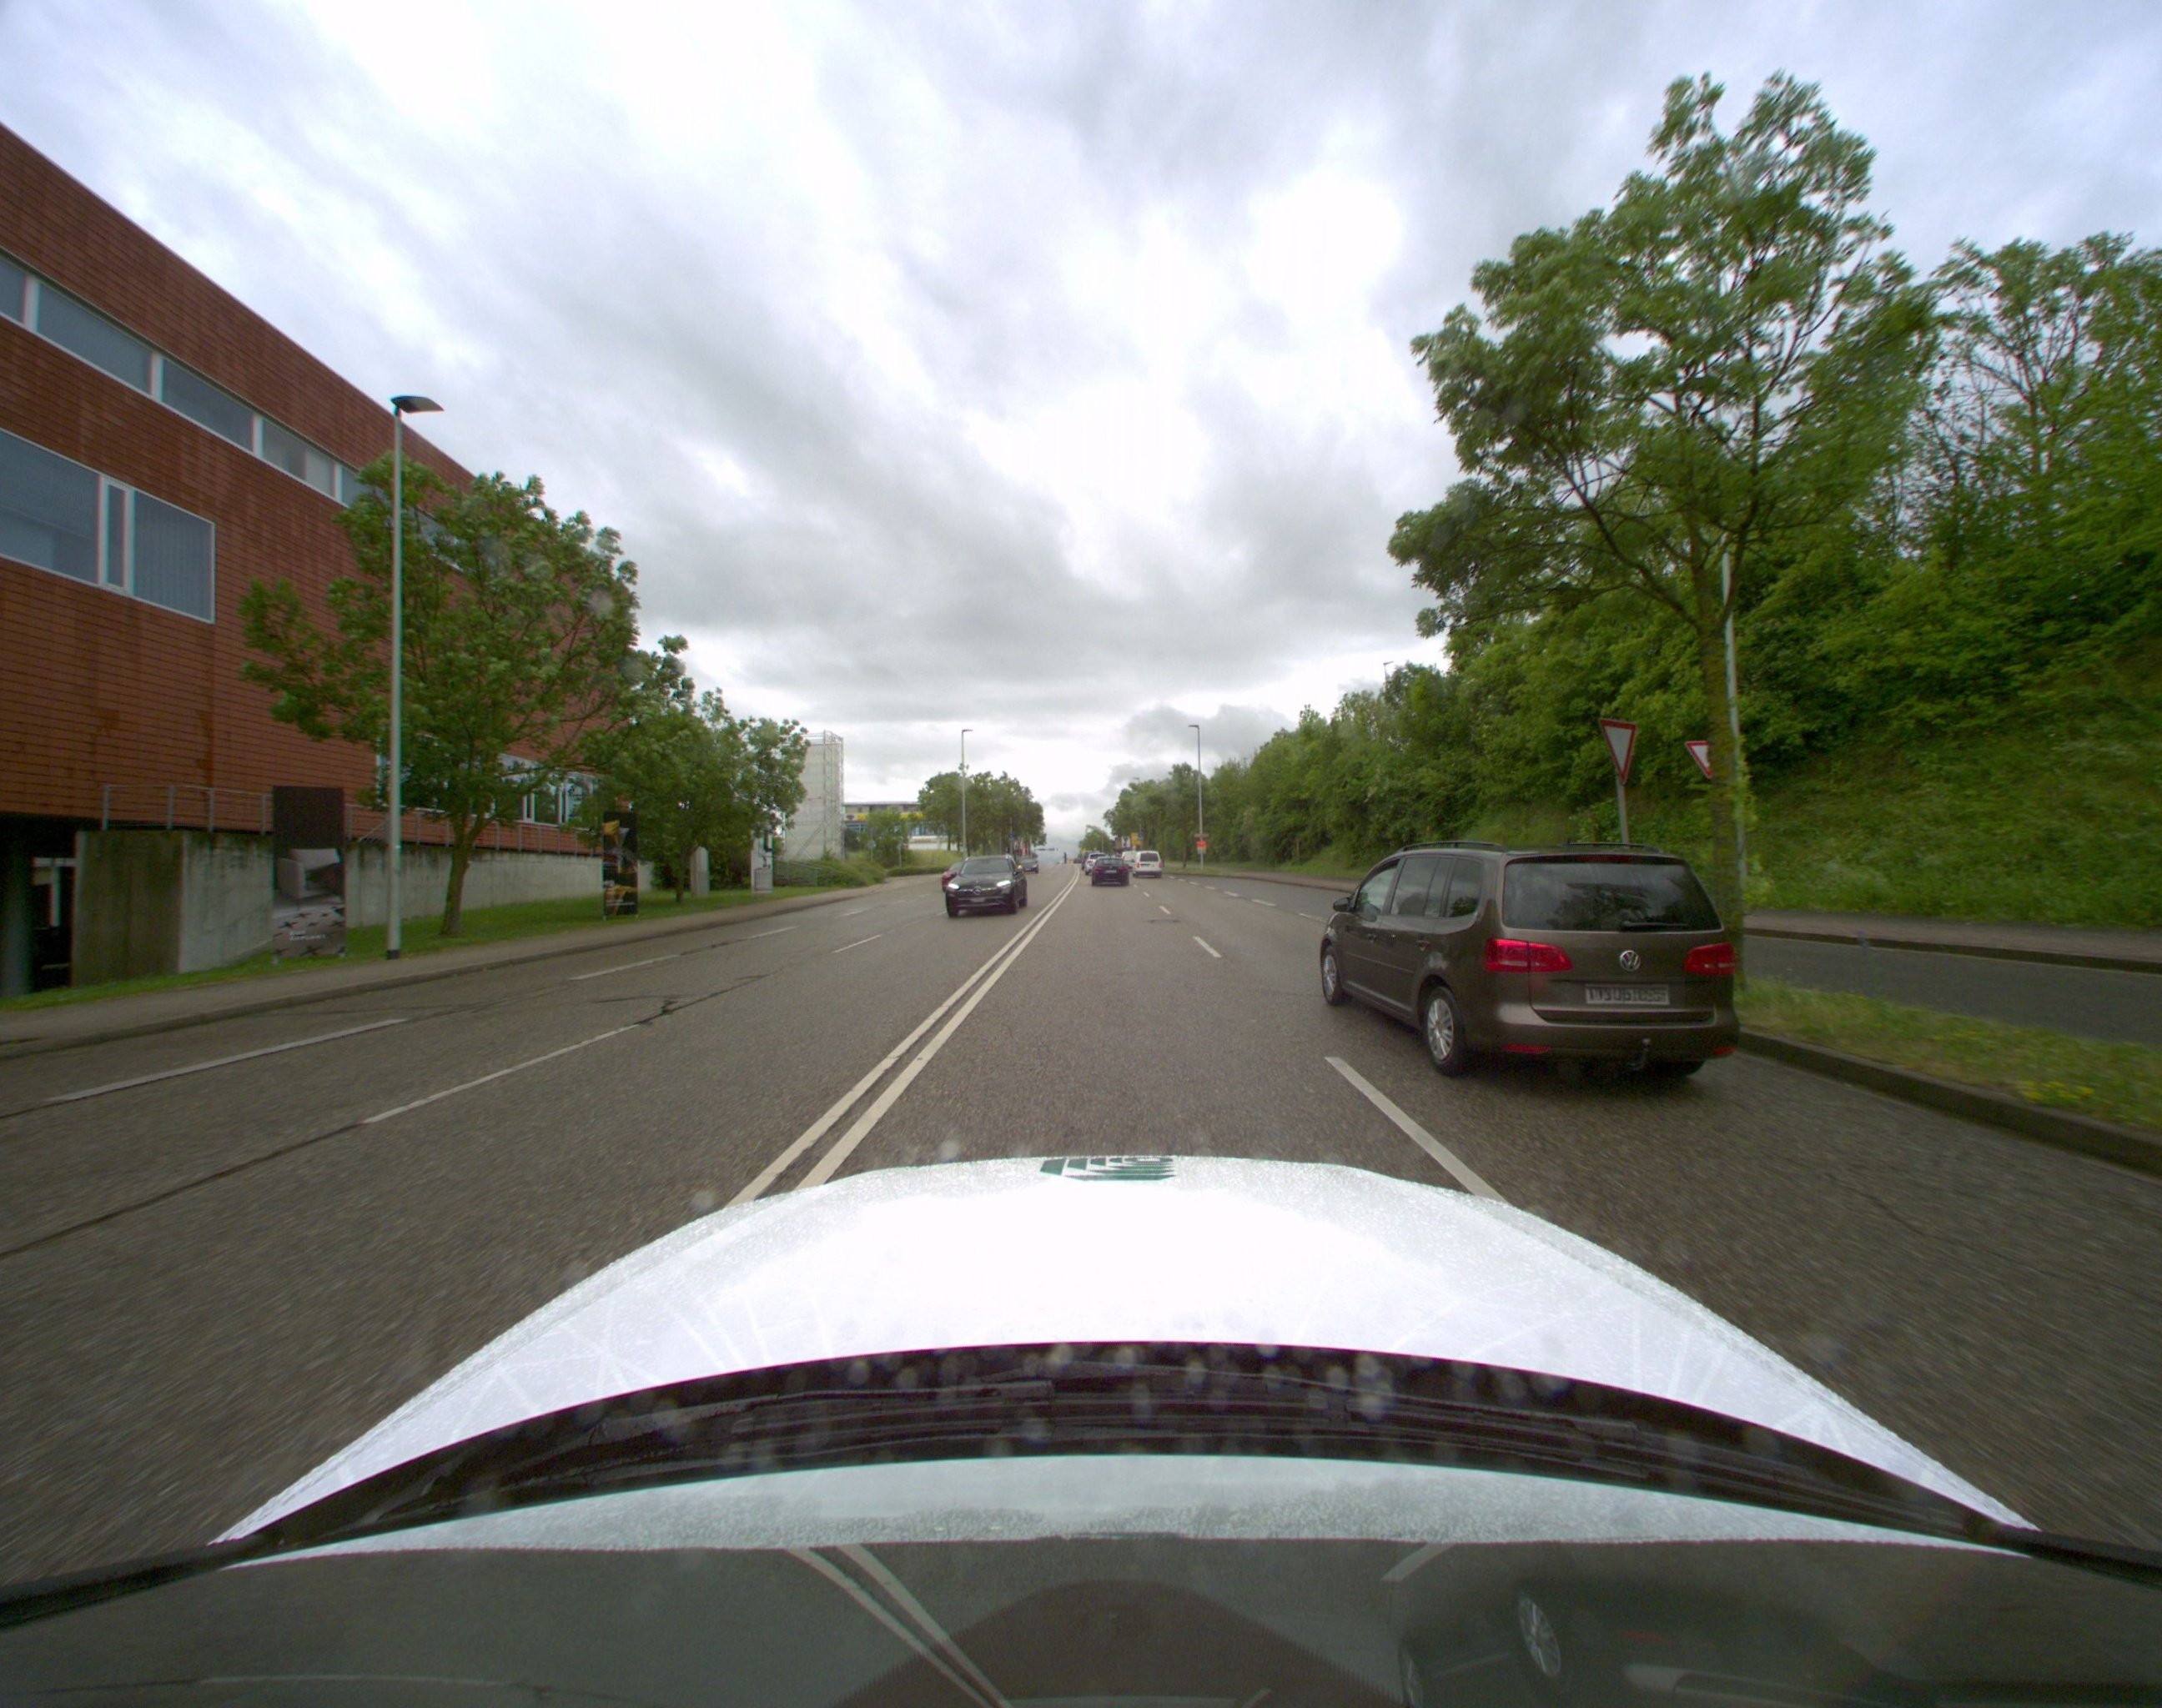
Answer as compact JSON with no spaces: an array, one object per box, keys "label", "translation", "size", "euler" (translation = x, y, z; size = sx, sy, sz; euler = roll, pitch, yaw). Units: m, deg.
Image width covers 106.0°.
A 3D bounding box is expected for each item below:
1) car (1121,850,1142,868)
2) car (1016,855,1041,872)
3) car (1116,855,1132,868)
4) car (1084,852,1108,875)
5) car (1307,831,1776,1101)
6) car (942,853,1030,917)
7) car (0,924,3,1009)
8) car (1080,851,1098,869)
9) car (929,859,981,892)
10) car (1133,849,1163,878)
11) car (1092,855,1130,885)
[{"label":"car","translation":[4.782,0.469,77.482],"size":[1.808,1.708,3.946],"euler":[-1,0,0]},{"label":"car","translation":[-4.917,0.832,76.728],"size":[1.729,1.454,4.004],"euler":[-3,0,4]},{"label":"car","translation":[4.917,0.792,92.606],"size":[1.595,1.372,3.679],"euler":[-2,0,0]},{"label":"car","translation":[1.146,0.701,61.664],"size":[1.722,1.711,3.384],"euler":[0,0,2]},{"label":"car","translation":[3.322,0.682,6.936],"size":[1.708,1.596,4.131],"euler":[-1,0,1]},{"label":"car","translation":[-2.627,0.800,23.543],"size":[1.852,1.577,4.321],"euler":[-3,0,1]},{"label":"car","translation":[-24.305,2.395,15.926],"size":[4.029,1.750,1.680],"euler":[-2,0,-2]},{"label":"car","translation":[0.772,0.610,82.632],"size":[1.752,1.708,3.946],"euler":[-1,0,0]},{"label":"car","translation":[-6.426,1.069,41.952],"size":[1.669,1.506,4.220],"euler":[-3,0,4]},{"label":"car","translation":[4.495,0.619,55.186],"size":[1.736,1.869,3.946],"euler":[0,0,0]},{"label":"car","translation":[1.478,0.772,41.341],"size":[1.848,1.419,3.957],"euler":[0,0,1]}]
